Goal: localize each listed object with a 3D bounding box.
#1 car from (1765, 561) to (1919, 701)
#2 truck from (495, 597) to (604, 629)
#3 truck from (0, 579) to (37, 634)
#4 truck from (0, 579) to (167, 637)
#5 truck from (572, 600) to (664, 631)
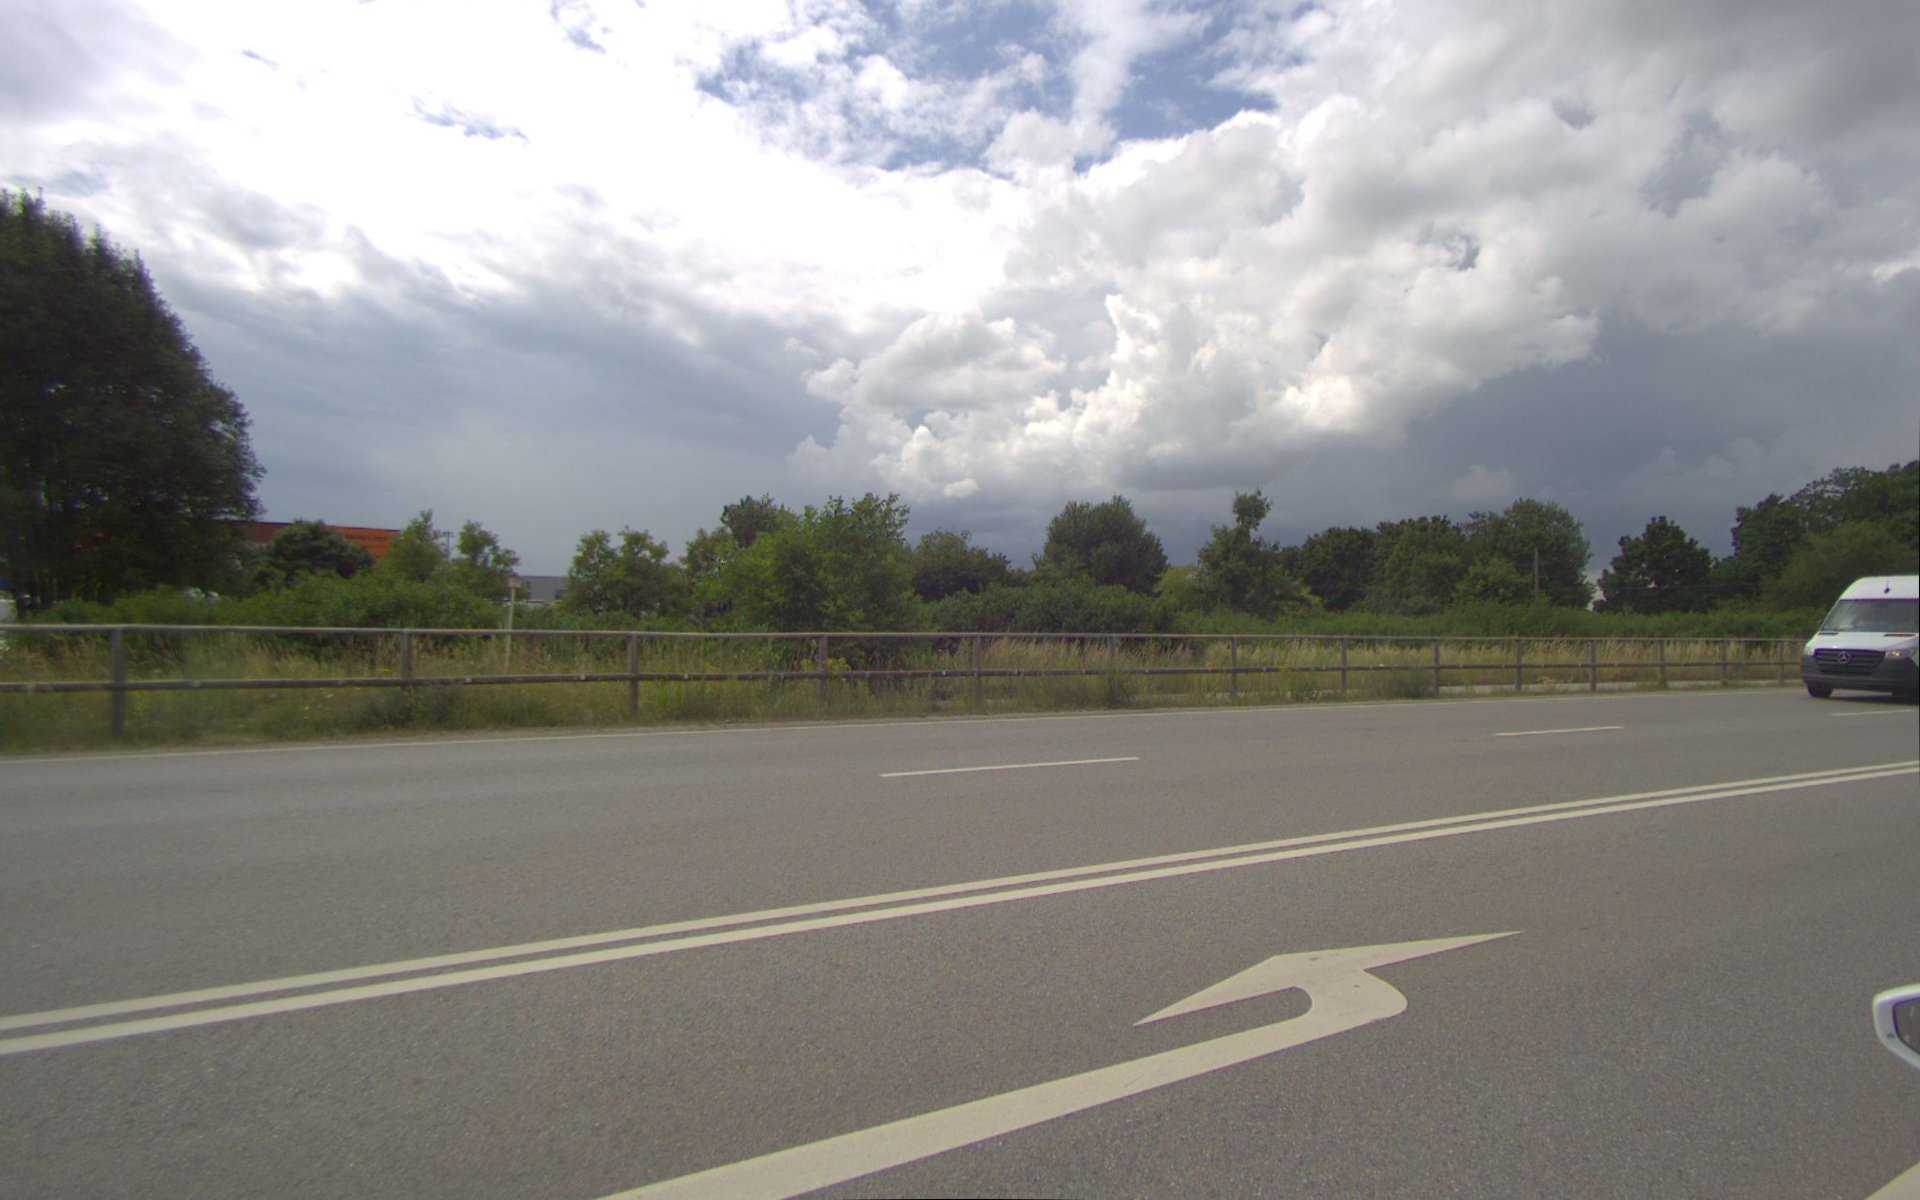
[{"bbox_3d":[20.889,0.685,21.913,6.794,2.710,2.427,2,-1,-25],"label":"car"},{"bbox_3d":[-29.499,0.944,72.234,7.044,2.040,1.986,3,-1,-28],"label":"truck"},{"bbox_3d":[-49.153,0.240,48.190,2.601,2.718,6.656,1,-1,20],"label":"truck"},{"bbox_3d":[-44.690,0.441,50.919,2.600,2.718,6.657,1,-1,18],"label":"truck"},{"bbox_3d":[-25.317,1.165,74.438,6.152,2.040,1.986,3,-1,-28],"label":"truck"}]
